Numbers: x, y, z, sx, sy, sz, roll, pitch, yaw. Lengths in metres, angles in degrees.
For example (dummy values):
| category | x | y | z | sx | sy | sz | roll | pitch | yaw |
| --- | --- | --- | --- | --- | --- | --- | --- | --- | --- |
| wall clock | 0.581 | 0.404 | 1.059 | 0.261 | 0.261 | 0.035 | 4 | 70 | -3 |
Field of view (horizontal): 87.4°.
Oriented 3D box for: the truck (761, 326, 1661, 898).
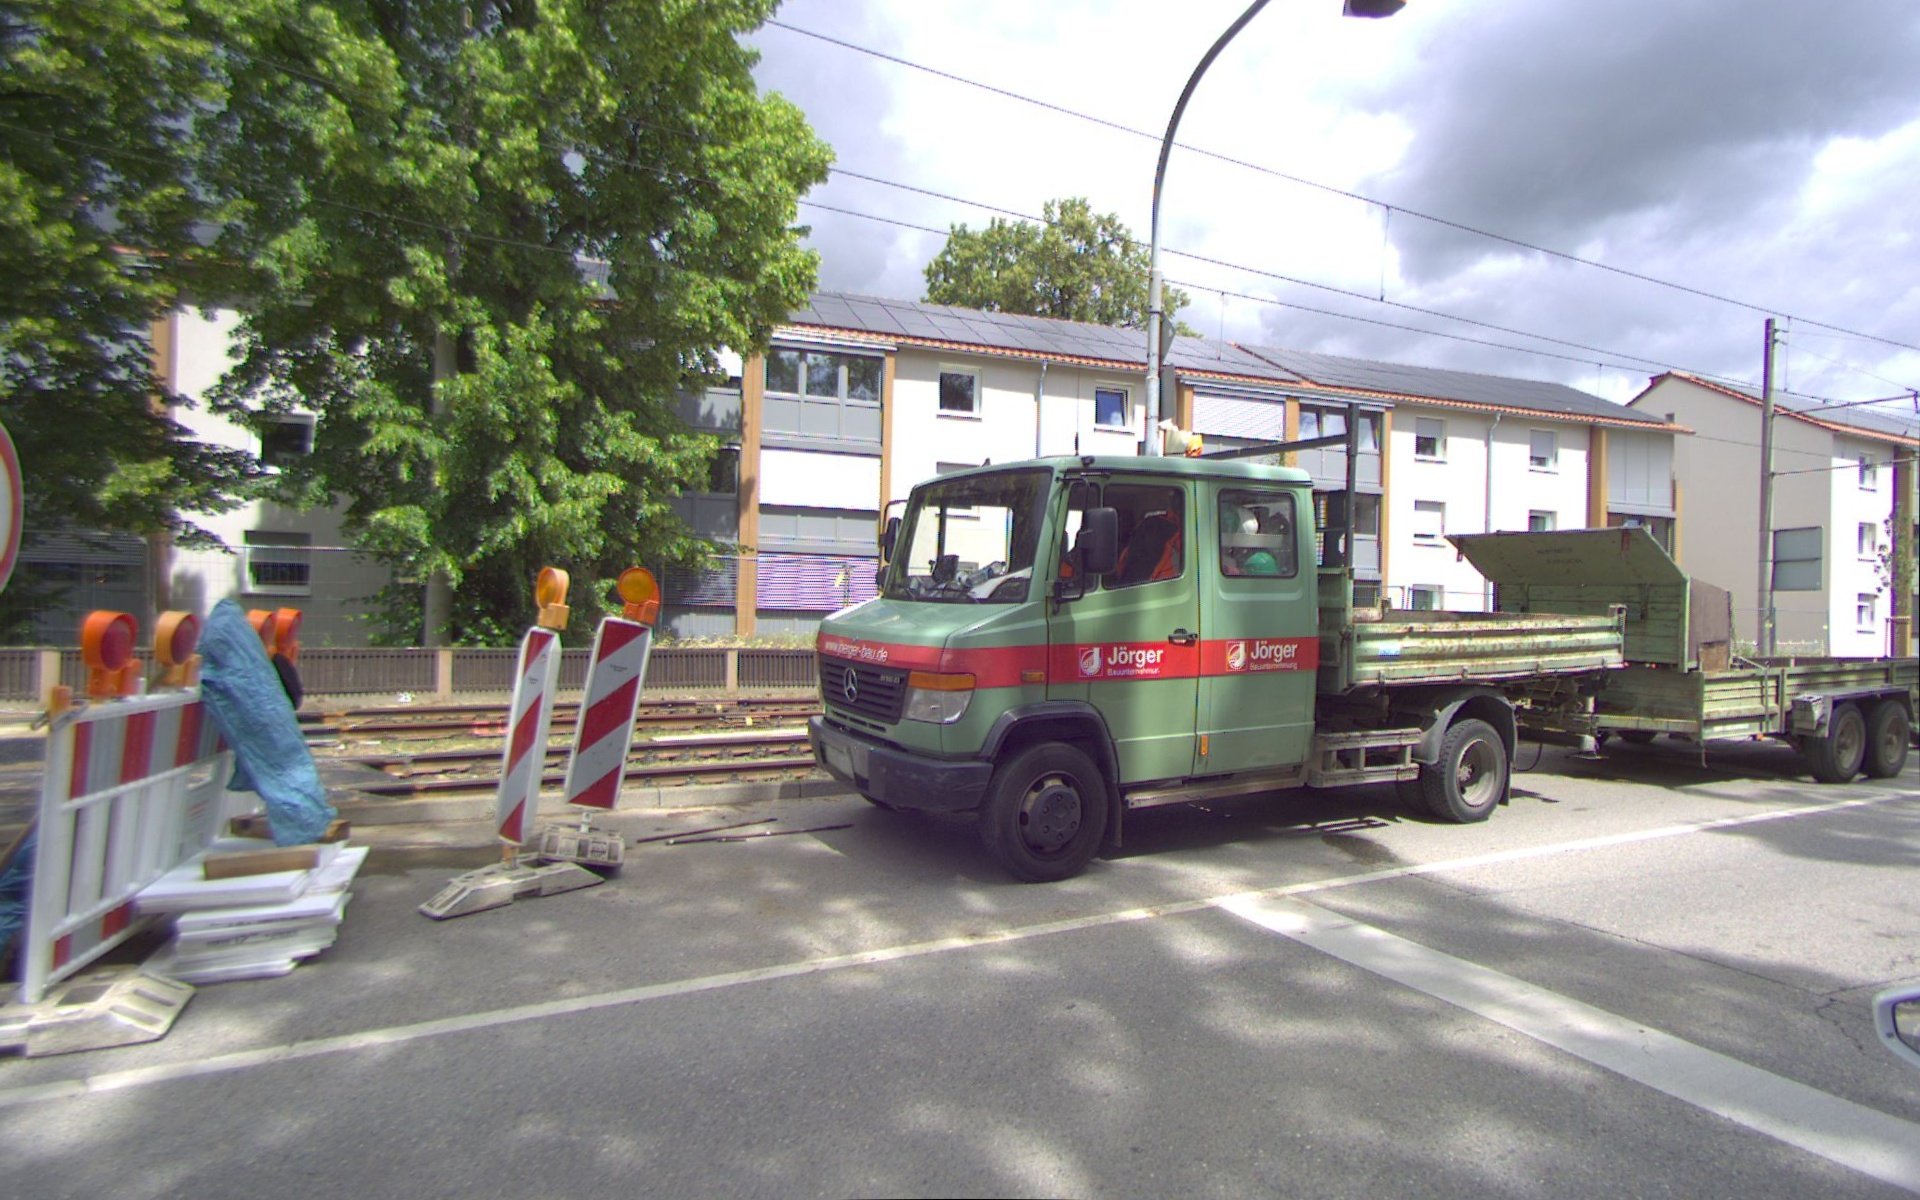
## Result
| category | x | y | z | sx | sy | sz | roll | pitch | yaw |
| --- | --- | --- | --- | --- | --- | --- | --- | --- | --- |
| truck | 1.998 | 0.111 | 7.508 | 6.315 | 2.762 | 2.651 | 2 | 1 | -28 |

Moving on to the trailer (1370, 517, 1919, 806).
| category | x | y | z | sx | sy | sz | roll | pitch | yaw |
| --- | --- | --- | --- | --- | --- | --- | --- | --- | --- |
| trailer | 7.510 | 0.525 | 10.402 | 6.169 | 2.243 | 2.651 | 2 | 1 | -28 |
